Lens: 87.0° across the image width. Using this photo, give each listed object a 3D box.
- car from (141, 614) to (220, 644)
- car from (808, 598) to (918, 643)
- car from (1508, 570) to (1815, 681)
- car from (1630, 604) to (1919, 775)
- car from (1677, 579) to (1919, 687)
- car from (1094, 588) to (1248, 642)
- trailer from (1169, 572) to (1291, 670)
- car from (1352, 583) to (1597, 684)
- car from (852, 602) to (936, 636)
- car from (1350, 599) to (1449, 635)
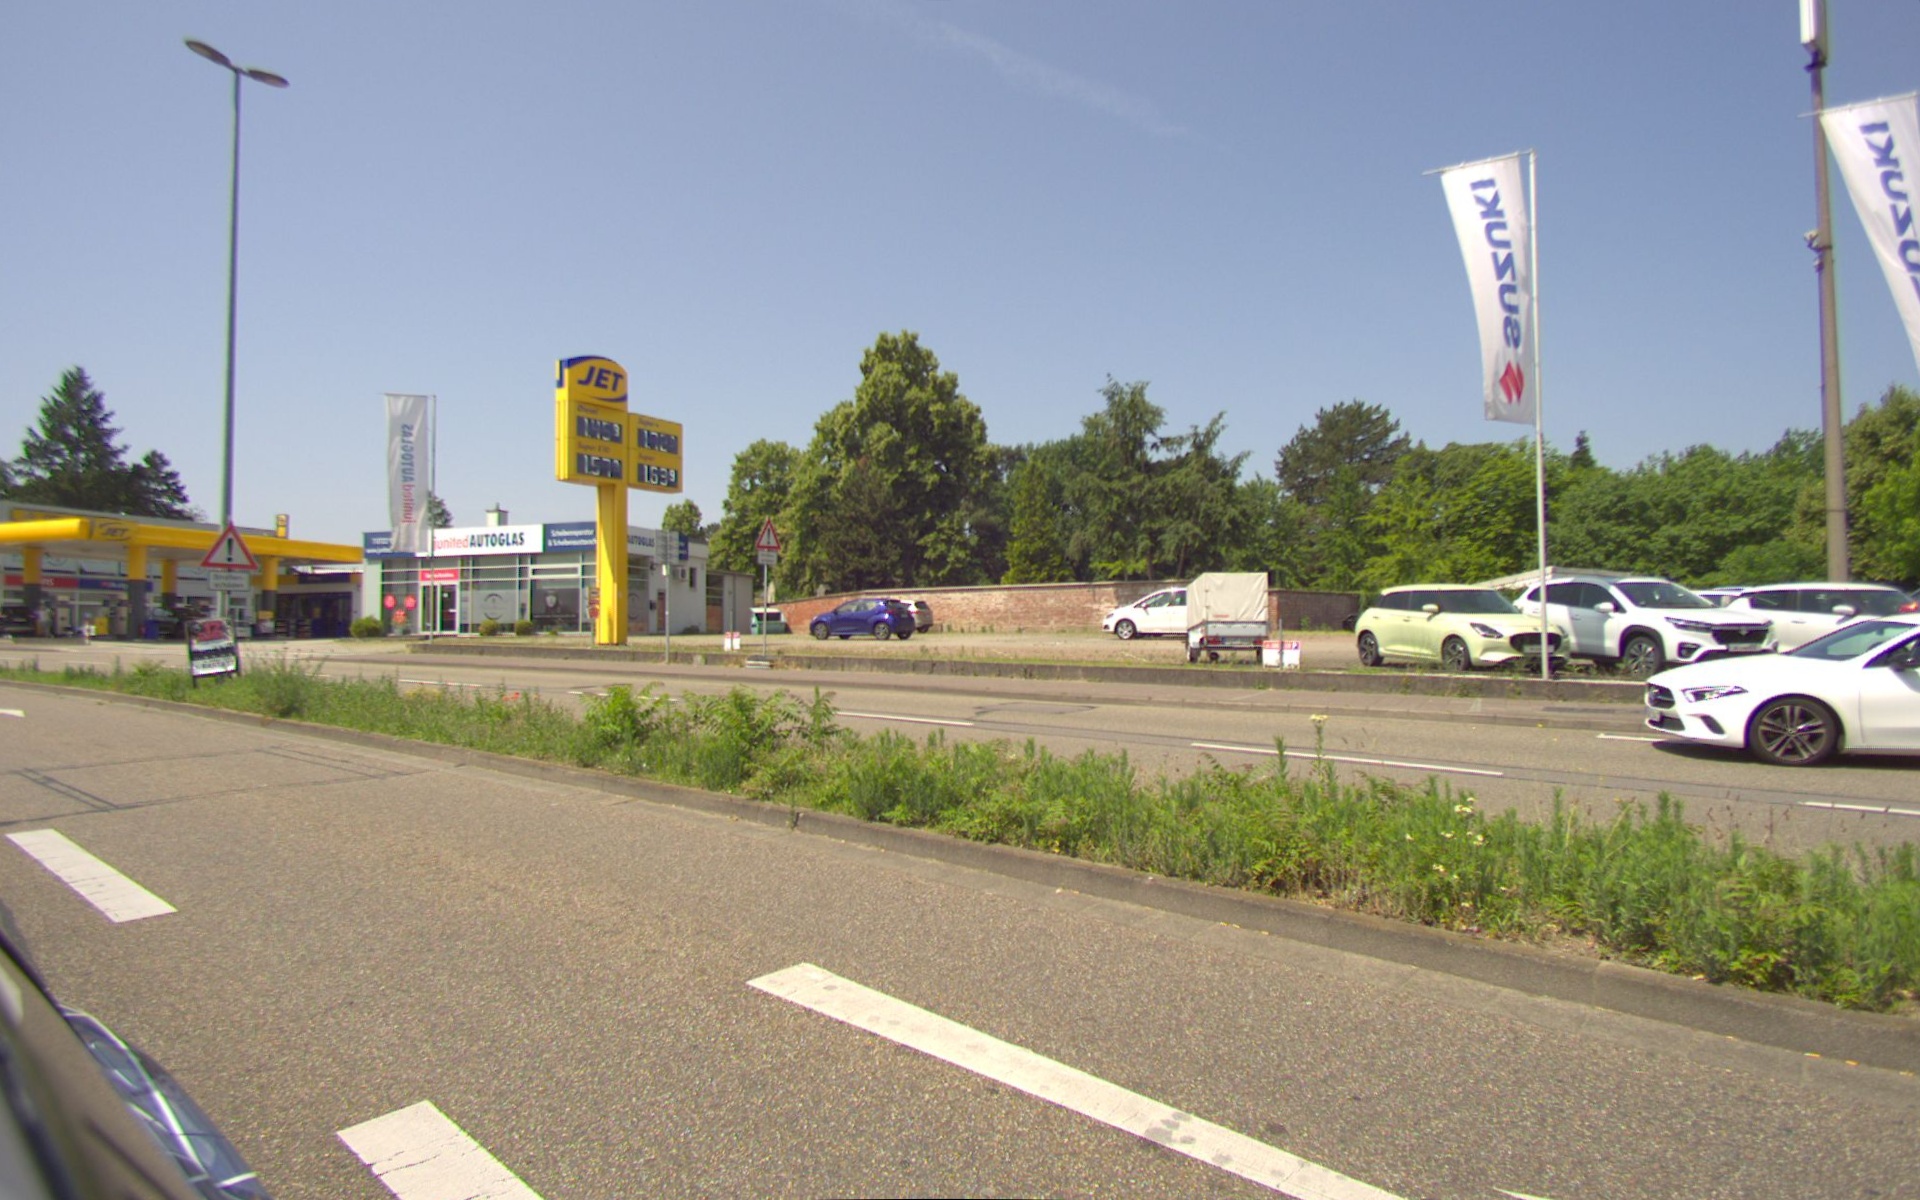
[{"bbox_3d":[-41.869,1.546,54.340,4.189,1.554,1.643,-1,0,25],"label":"car"},{"bbox_3d":[-3.483,0.736,36.223,3.612,1.517,1.679,-1,-1,27],"label":"car"},{"bbox_3d":[10.983,0.362,16.259,1.889,1.552,3.968,0,0,-6],"label":"car"},{"bbox_3d":[8.949,0.763,9.330,4.233,1.435,1.863,-1,0,18],"label":"car"},{"bbox_3d":[13.368,0.458,15.452,1.689,1.443,3.969,1,0,-7],"label":"car"},{"bbox_3d":[6.907,0.503,33.260,4.729,1.662,1.680,-1,-1,25],"label":"car"},{"bbox_3d":[5.009,0.378,19.072,1.671,1.717,2.433,0,-1,2],"label":"trailer"},{"bbox_3d":[8.586,0.515,17.300,1.729,1.521,3.828,0,0,-10],"label":"car"},{"bbox_3d":[-3.096,0.898,47.292,3.612,1.517,1.605,-1,-1,27],"label":"car"},{"bbox_3d":[17.176,0.653,39.604,3.341,1.384,1.637,-1,0,34],"label":"car"}]
